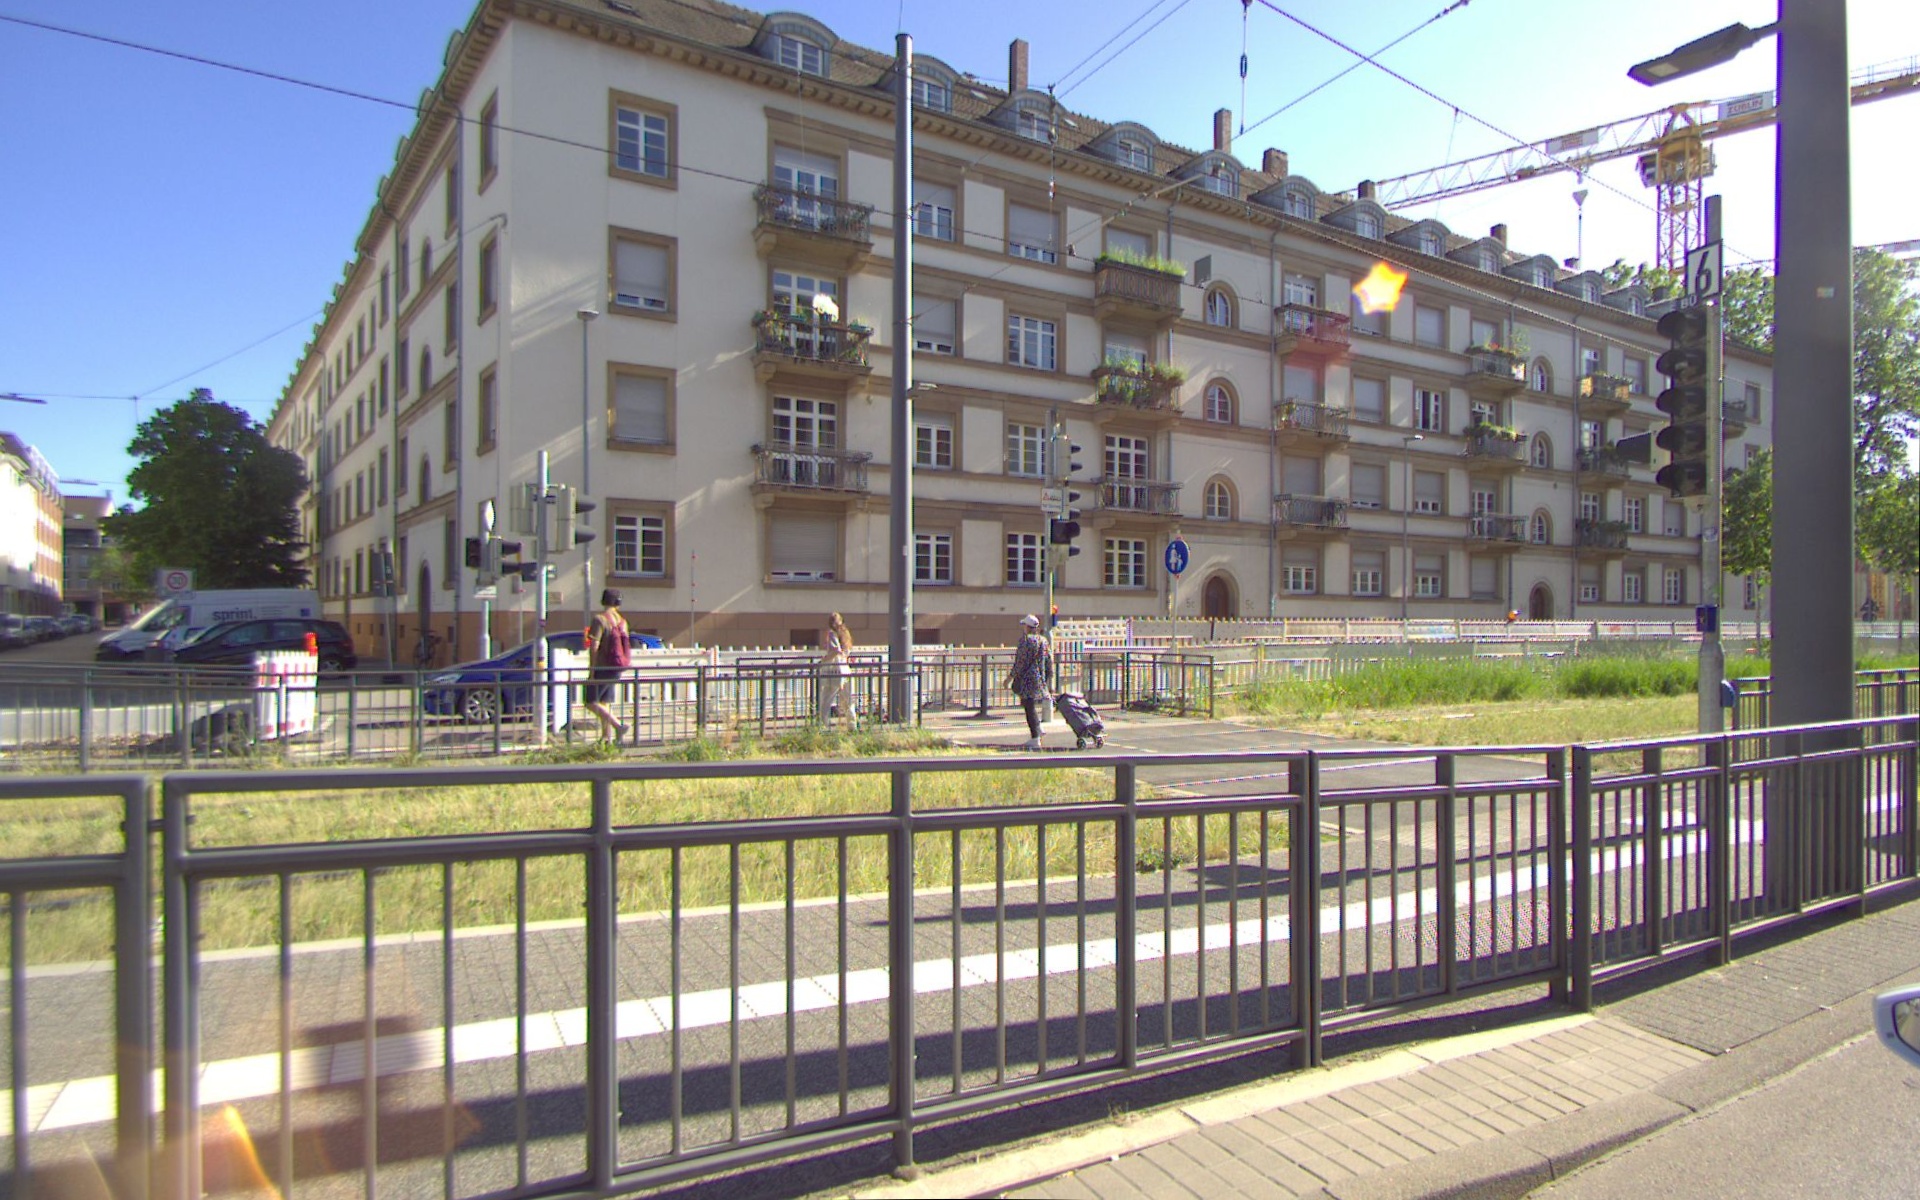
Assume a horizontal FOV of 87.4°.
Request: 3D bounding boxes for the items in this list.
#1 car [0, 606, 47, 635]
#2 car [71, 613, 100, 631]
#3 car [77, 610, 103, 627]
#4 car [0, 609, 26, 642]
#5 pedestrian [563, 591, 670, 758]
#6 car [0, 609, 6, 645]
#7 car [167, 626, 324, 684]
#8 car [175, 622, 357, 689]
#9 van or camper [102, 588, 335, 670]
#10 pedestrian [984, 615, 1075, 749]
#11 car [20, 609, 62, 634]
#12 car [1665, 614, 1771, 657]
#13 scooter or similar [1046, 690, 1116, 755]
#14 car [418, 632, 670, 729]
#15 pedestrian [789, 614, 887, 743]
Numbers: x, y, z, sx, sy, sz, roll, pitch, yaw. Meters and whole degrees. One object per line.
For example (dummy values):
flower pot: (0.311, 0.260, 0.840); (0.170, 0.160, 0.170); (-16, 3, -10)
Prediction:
car: (-55.835, 1.199, 59.839); (1.940, 1.684, 3.954); (1, -1, -40)
car: (-81.628, 2.072, 93.762); (1.940, 1.684, 3.954); (1, -1, -40)
car: (-88.013, 1.898, 101.627); (1.940, 1.684, 3.954); (1, -1, -40)
car: (-50.869, 1.326, 53.268); (1.942, 1.684, 3.950); (1, -1, -43)
pedestrian: (-3.913, 0.804, 11.441); (0.901, 1.804, 0.858); (1, 0, -39)
car: (-47.613, 1.303, 48.625); (1.942, 1.684, 3.950); (1, -1, -43)
car: (-20.670, 1.541, 29.118); (3.635, 1.542, 1.672); (1, -1, -39)
car: (-17.307, 1.334, 25.118); (3.643, 1.542, 1.672); (1, -1, -39)
van or camper: (-23.898, 0.933, 32.562); (5.911, 2.432, 1.976); (1, -2, -42)
pedestrian: (0.839, 0.972, 12.300); (0.788, 1.557, 0.809); (1, 0, -28)
car: (-62.650, 1.468, 68.529); (1.940, 1.684, 3.954); (1, -1, -40)
car: (28.420, 1.311, 37.645); (3.953, 1.536, 1.808); (1, -1, -30)
scooter or similar: (1.418, 1.431, 11.827); (0.509, 0.660, 0.704); (1, 0, -28)
car: (-6.710, 1.251, 16.276); (3.610, 1.394, 1.567); (1, -4, -31)
pedestrian: (-1.557, 0.964, 12.866); (0.854, 1.557, 0.905); (1, 0, 38)
